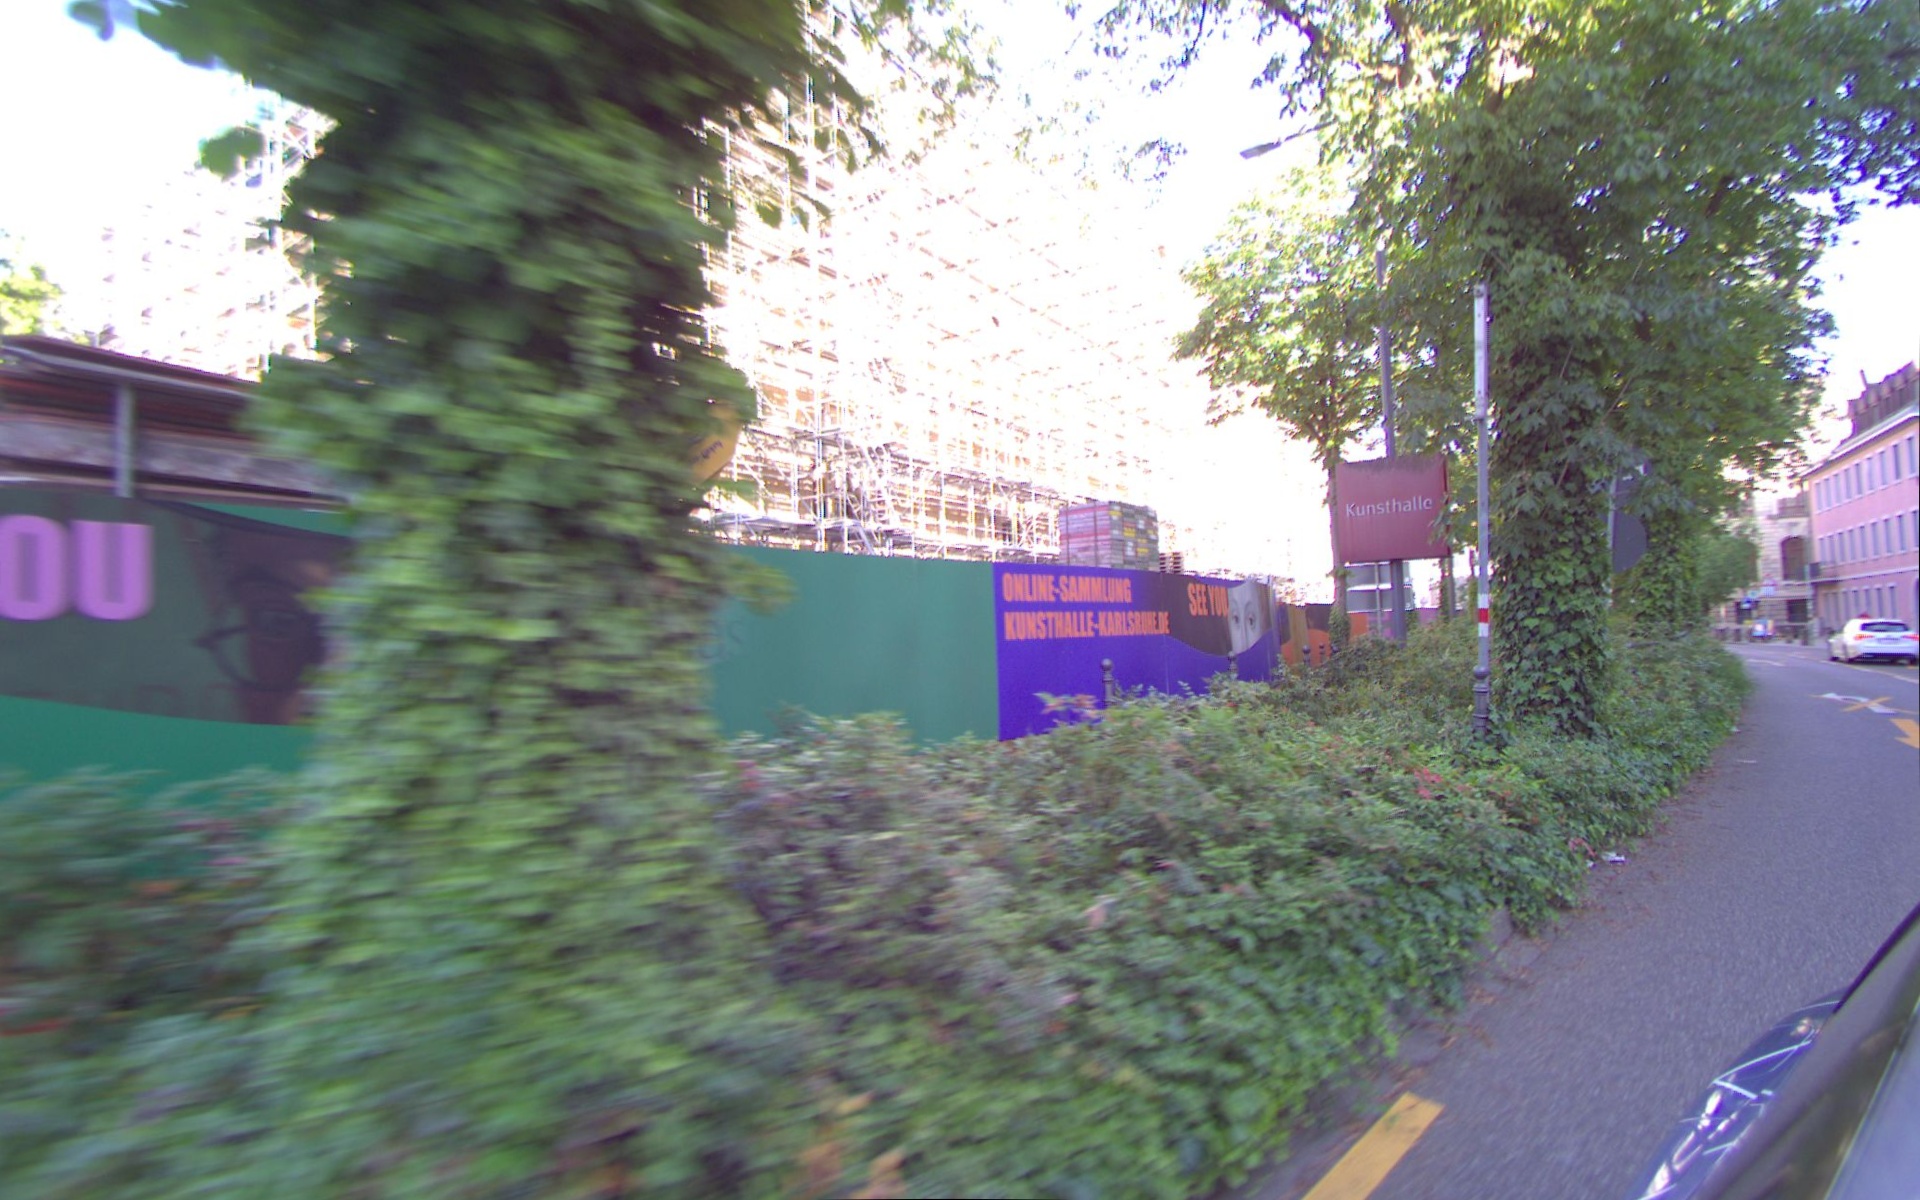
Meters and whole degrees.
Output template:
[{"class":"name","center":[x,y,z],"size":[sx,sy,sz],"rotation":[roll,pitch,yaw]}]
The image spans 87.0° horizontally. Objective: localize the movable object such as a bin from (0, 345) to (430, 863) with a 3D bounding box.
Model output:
[{"class":"movable object such as a bin","center":[-6.995,0.073,7.939],"size":[4.314,3.343,3.162],"rotation":[0,-3,-45]}]

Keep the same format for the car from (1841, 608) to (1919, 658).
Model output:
[{"class":"car","center":[29.433,0.996,32.176],"size":[1.809,1.483,3.946],"rotation":[0,-1,37]}]
